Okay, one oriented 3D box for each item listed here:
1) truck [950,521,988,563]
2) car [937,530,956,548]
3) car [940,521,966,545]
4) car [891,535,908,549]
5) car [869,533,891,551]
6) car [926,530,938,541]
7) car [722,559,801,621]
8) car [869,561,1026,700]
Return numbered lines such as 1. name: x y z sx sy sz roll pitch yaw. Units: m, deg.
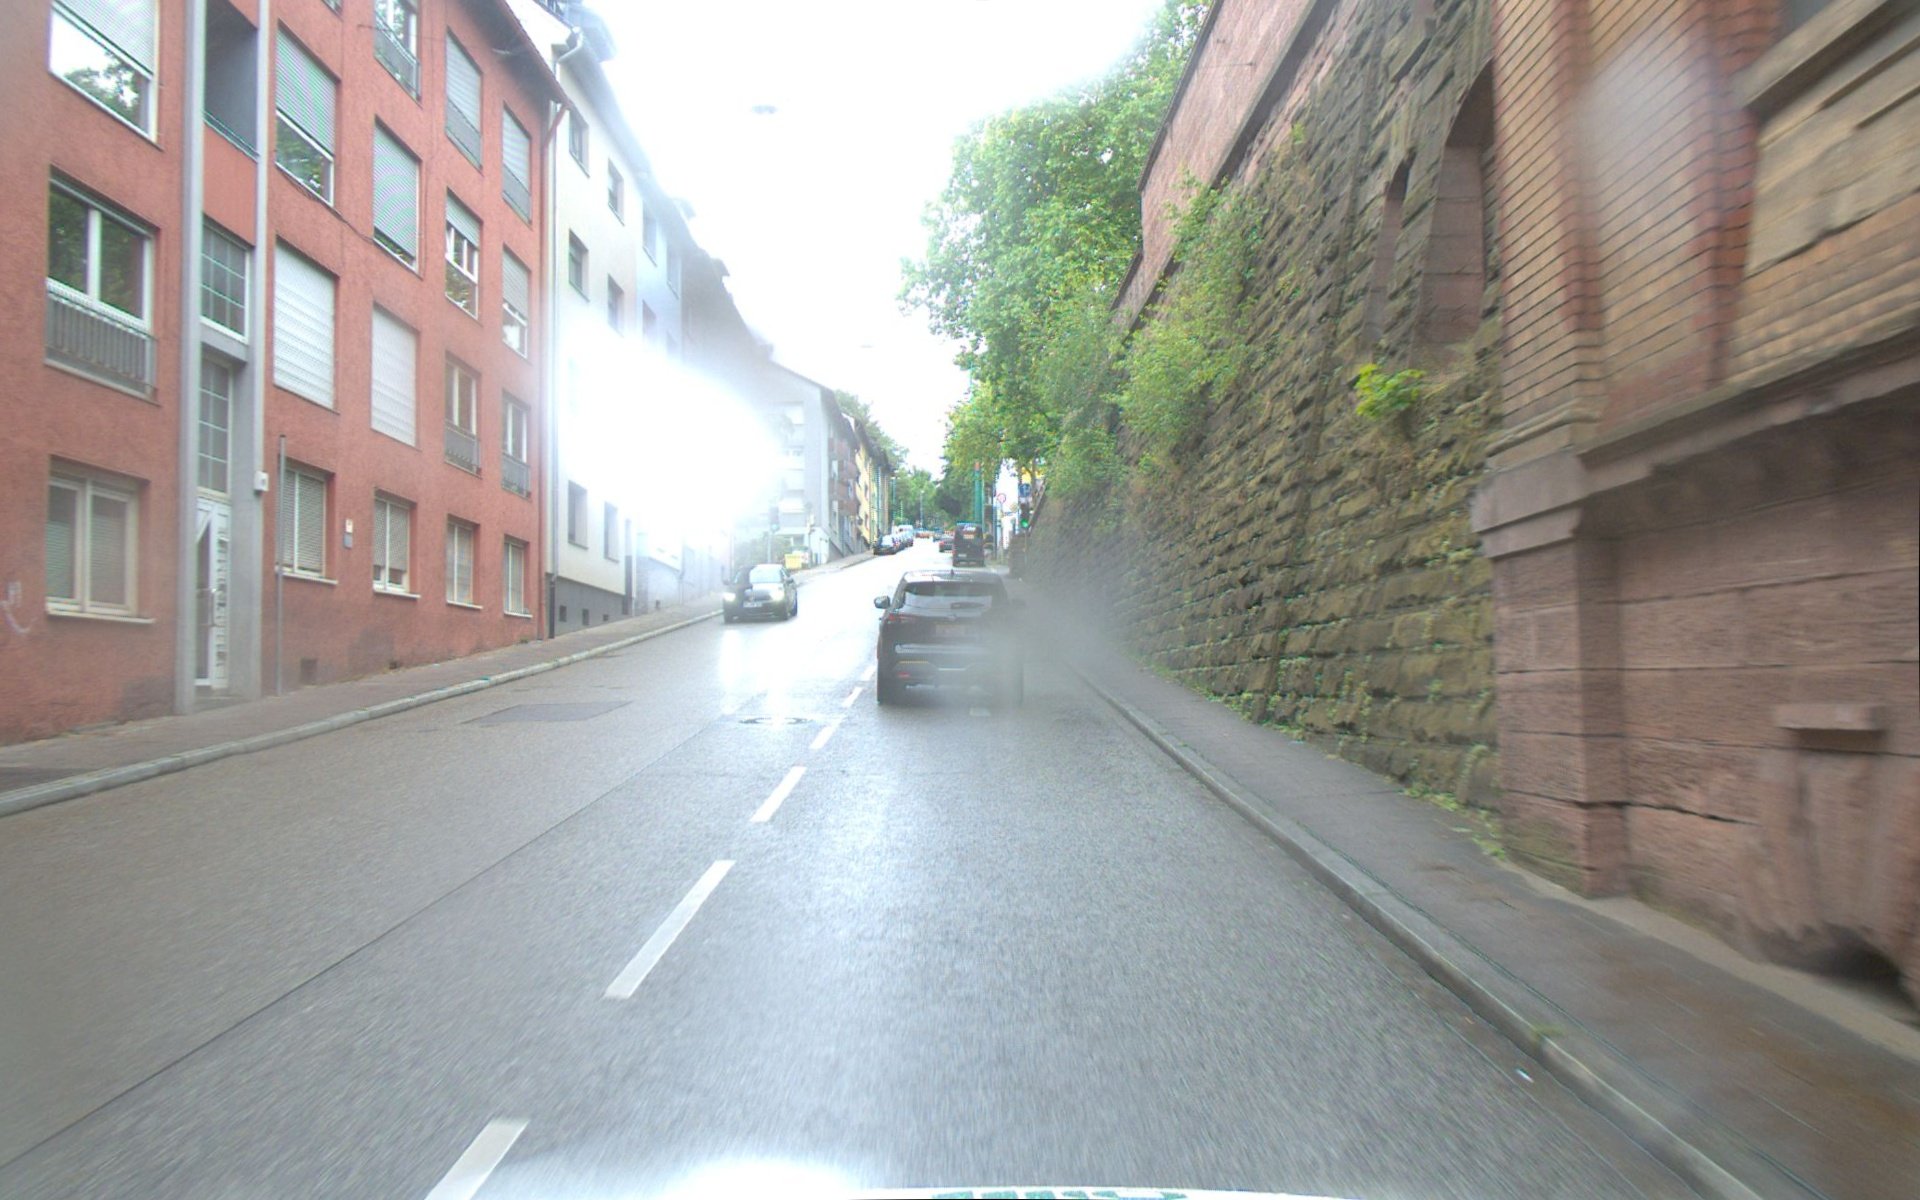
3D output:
1. truck: 0.538 -3.528 101.989 2.242 2.482 4.452 -1 1 0
2. car: -1.264 -5.749 155.843 1.757 1.536 4.000 -1 1 0
3. car: -0.497 -4.743 116.884 1.757 1.536 4.500 -1 1 0
4. car: -6.994 -6.717 190.981 1.757 1.536 4.000 -1 1 0
5. car: -7.103 -5.139 147.095 1.757 1.536 4.000 -1 1 0
6. car: -4.118 -9.533 245.778 1.757 1.536 4.000 -1 1 0
7. car: -5.280 -0.305 44.347 1.679 1.473 3.921 -1 2 -1
8. car: -0.231 0.353 21.344 1.843 1.622 3.919 0 0 -3
